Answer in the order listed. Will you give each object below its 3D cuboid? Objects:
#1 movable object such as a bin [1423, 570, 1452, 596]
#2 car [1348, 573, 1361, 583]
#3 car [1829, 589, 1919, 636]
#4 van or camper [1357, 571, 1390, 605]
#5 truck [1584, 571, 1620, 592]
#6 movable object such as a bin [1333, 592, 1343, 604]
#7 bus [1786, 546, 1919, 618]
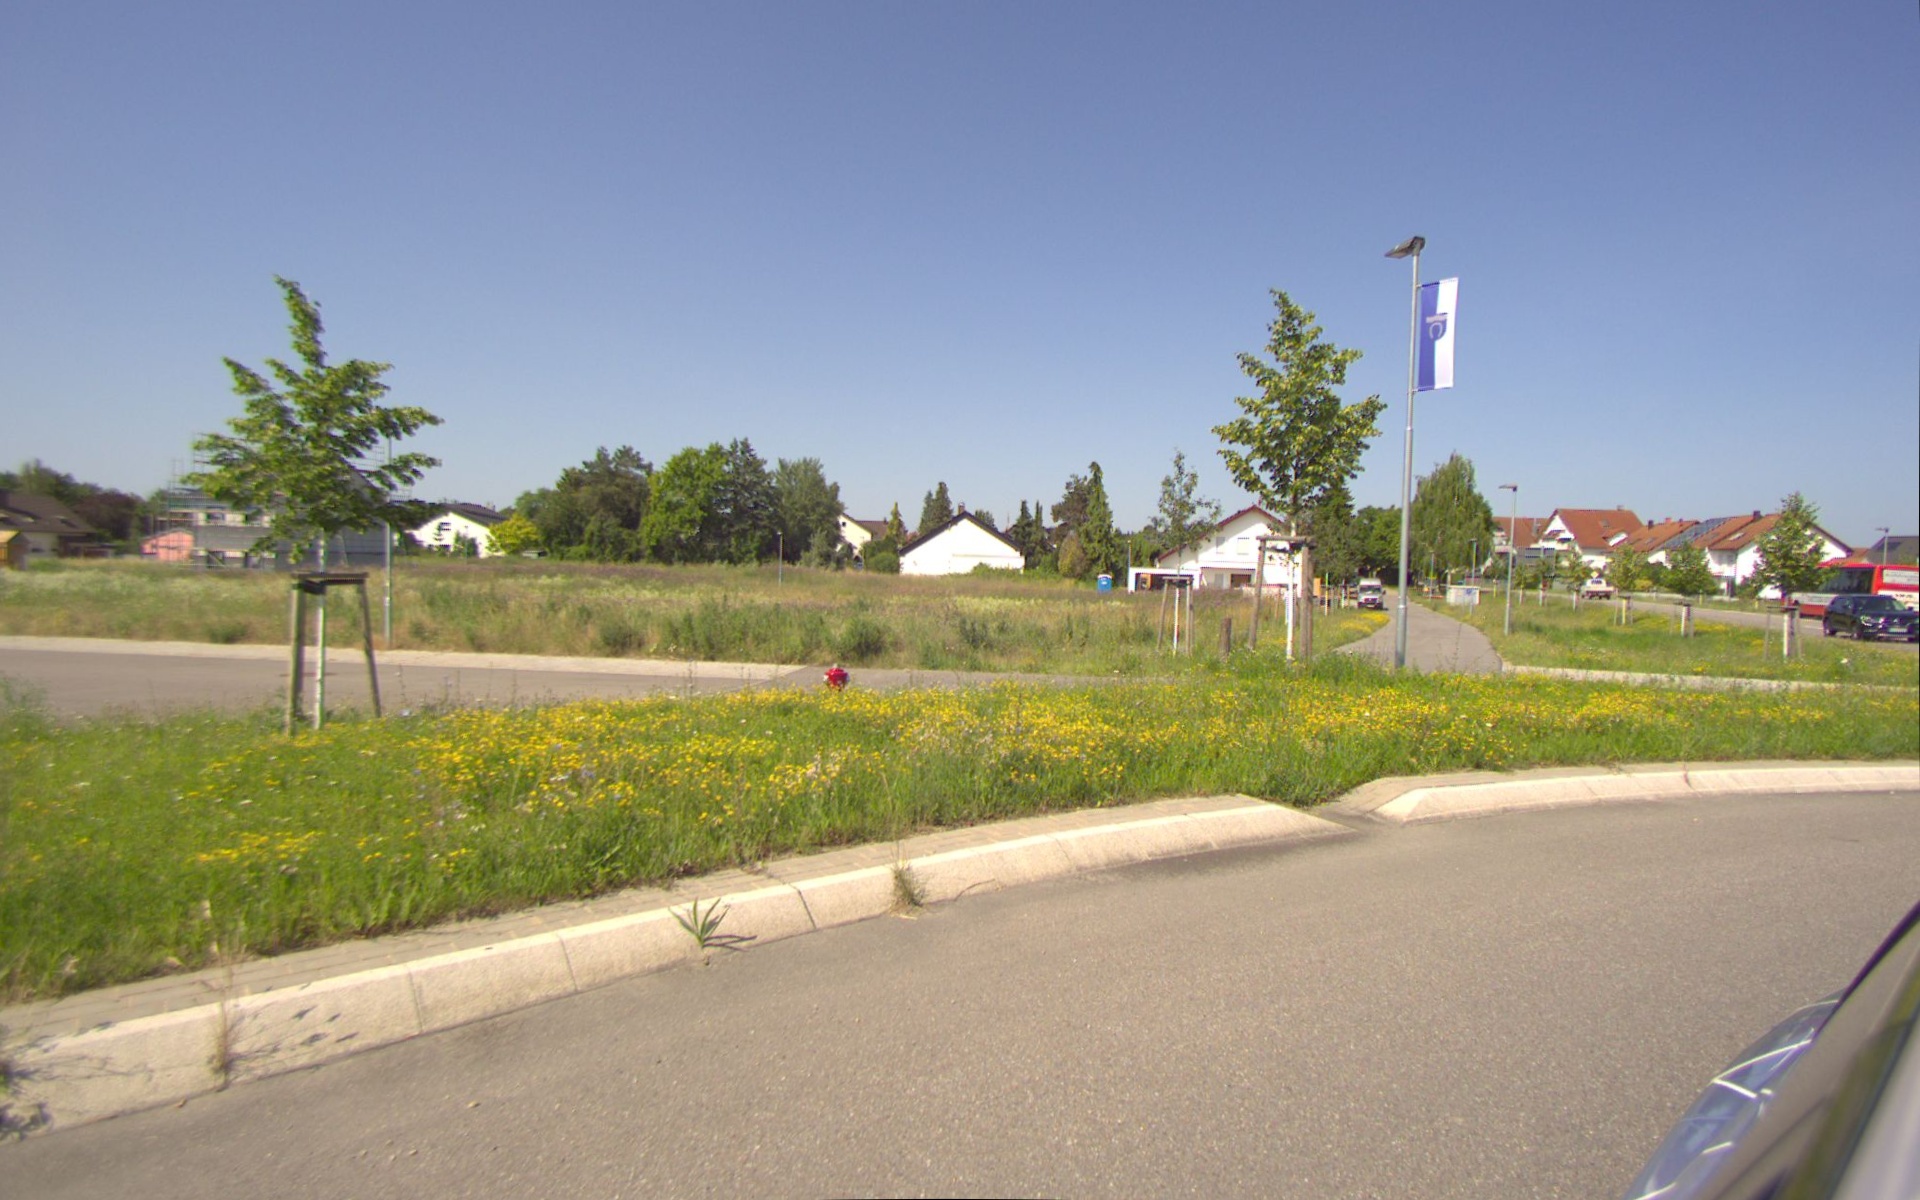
[{"bbox_3d":[48.464,-1.698,102.813,2.297,2.494,6.893,0,0,22],"label":"movable object such as a bin"},{"bbox_3d":[61.671,-3.470,158.243,1.840,1.463,4.144,0,2,19],"label":"car"},{"bbox_3d":[33.832,0.424,36.941,1.912,1.580,3.972,3,2,21],"label":"car"},{"bbox_3d":[34.126,-1.052,83.626,2.151,2.632,5.994,1,2,19],"label":"van or camper"},{"bbox_3d":[62.598,-1.811,98.712,1.935,2.009,5.603,1,2,22],"label":"truck"},{"bbox_3d":[30.651,-0.139,82.058,0.688,0.949,0.632,2,2,28],"label":"movable object such as a bin"},{"bbox_3d":[48.065,-0.966,53.784,2.772,3.326,12.138,5,3,22],"label":"bus"}]
